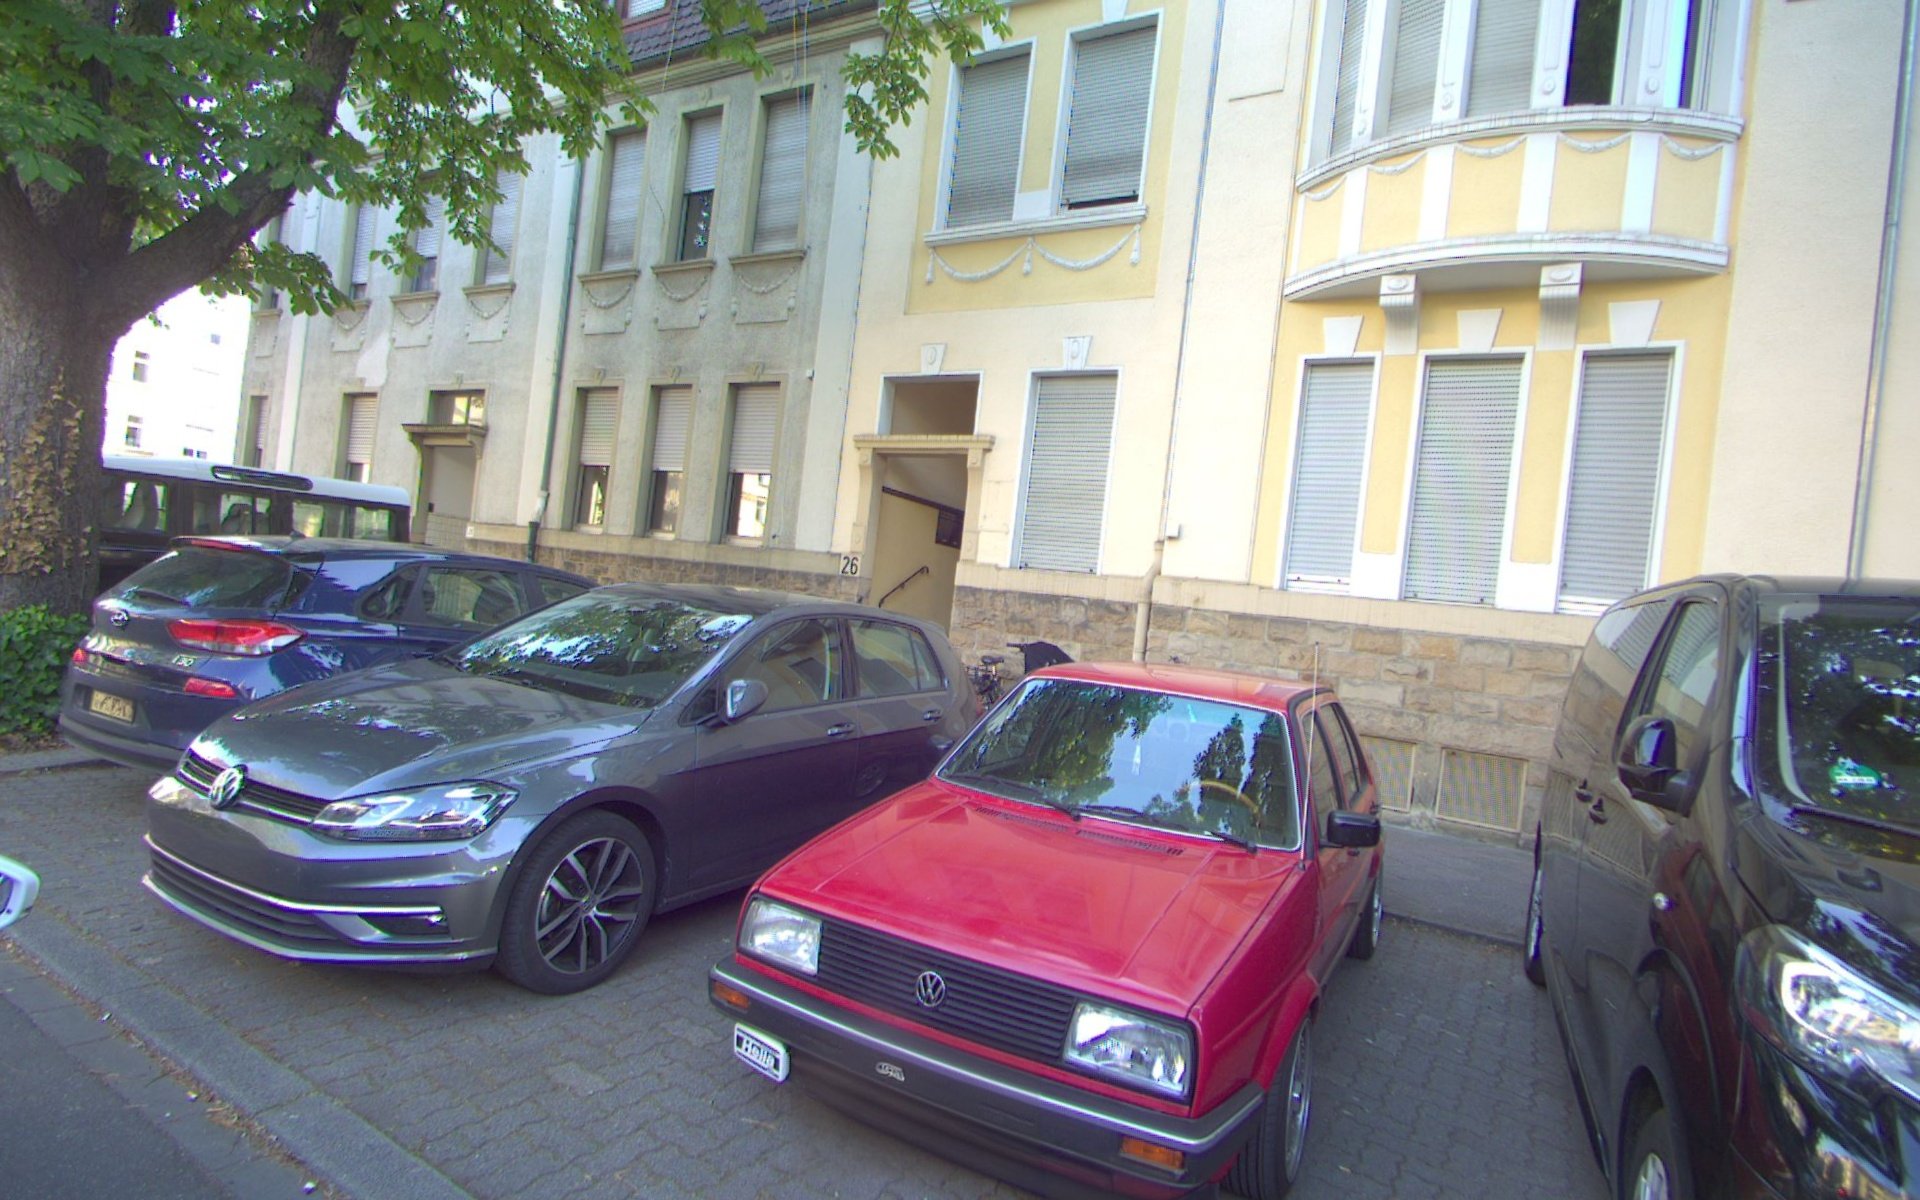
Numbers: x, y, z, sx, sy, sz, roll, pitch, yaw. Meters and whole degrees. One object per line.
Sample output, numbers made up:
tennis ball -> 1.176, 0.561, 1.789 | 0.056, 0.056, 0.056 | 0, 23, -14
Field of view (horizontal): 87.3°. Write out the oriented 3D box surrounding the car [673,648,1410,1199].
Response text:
car -> 0.828, 0.960, 4.233 | 1.532, 1.337, 3.916 | 6, 0, 29

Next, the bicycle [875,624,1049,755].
bicycle -> -0.002, 0.886, 10.358 | 1.675, 1.090, 0.500 | 7, 2, 32

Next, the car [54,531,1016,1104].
car -> -1.381, 0.646, 4.820 | 1.600, 1.440, 4.054 | 6, 0, 29

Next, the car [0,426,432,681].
car -> -7.624, -0.383, 9.318 | 1.762, 1.981, 4.496 | 7, 1, 29

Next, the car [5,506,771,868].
car -> -3.048, 0.415, 6.192 | 1.600, 1.440, 3.754 | 6, 0, 29

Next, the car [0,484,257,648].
car -> -10.009, -0.394, 10.873 | 1.680, 1.606, 3.488 | 7, 0, 25

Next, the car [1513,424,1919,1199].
car -> 2.875, 0.897, 2.952 | 1.848, 1.847, 4.829 | 6, 0, 27

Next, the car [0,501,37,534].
car -> -36.163, -3.219, 36.710 | 1.357, 1.081, 3.370 | 7, -1, 30
